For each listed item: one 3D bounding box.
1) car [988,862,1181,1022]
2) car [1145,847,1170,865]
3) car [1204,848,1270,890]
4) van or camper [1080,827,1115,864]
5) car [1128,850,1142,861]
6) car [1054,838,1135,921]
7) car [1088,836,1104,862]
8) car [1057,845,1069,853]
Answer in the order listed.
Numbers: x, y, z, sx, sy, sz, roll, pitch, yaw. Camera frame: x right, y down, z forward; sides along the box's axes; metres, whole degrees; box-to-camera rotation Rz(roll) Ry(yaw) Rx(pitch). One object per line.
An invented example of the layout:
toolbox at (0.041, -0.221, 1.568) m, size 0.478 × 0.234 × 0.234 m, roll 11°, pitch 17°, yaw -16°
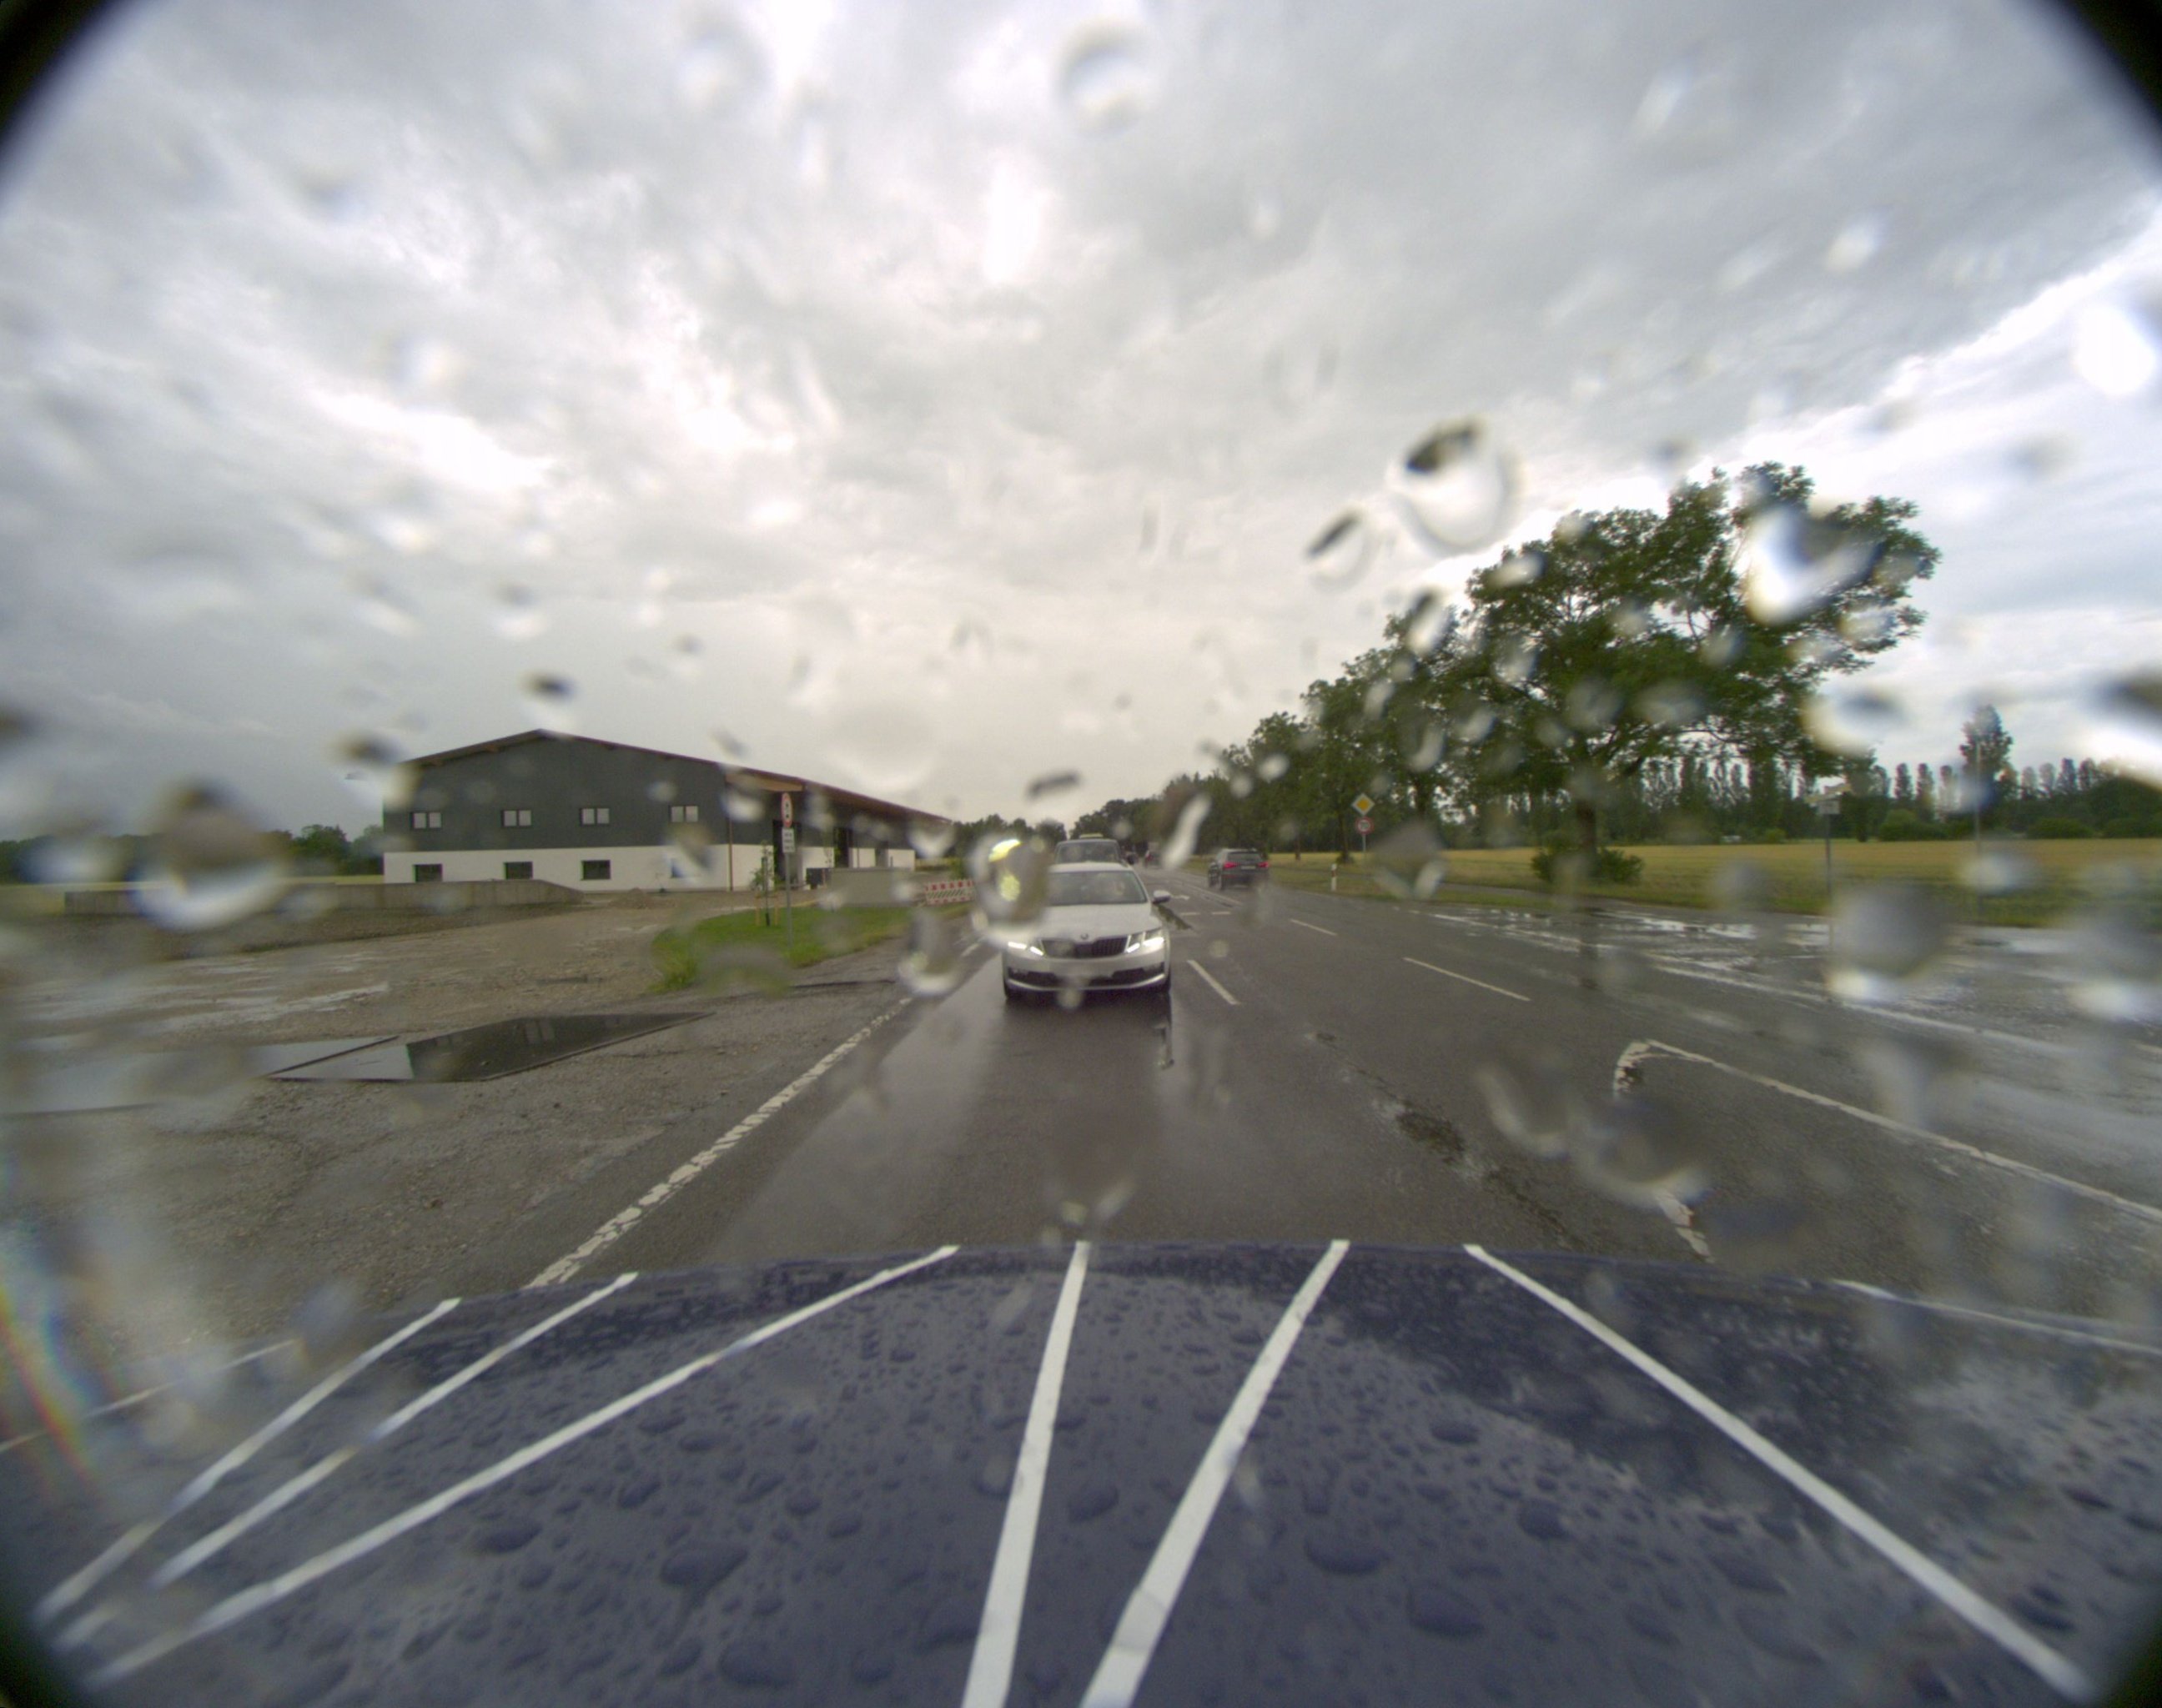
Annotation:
car at (0.077, 0.851, 9.391) m, size 1.770 × 1.365 × 4.575 m, roll -2°, pitch 1°, yaw 1°
car at (7.072, 0.172, 70.434) m, size 1.949 × 1.571 × 4.443 m, roll 0°, pitch 0°, yaw 0°
car at (5.953, 0.532, 29.495) m, size 1.773 × 1.514 × 4.141 m, roll 0°, pitch 0°, yaw 1°
van or camper at (1.751, -0.893, 80.814) m, size 3.342 × 3.624 × 8.372 m, roll -2°, pitch 1°, yaw 1°
car at (7.026, 0.161, 98.747) m, size 1.716 × 1.397 × 3.814 m, roll 0°, pitch 0°, yaw 2°
car at (0.363, 0.576, 19.993) m, size 1.841 × 1.888 × 4.575 m, roll -2°, pitch 1°, yaw 1°
car at (1.844, -0.601, 92.501) m, size 1.771 × 3.134 × 4.027 m, roll -2°, pitch 1°, yaw 0°
car at (-5.033, -1.329, 209.210) m, size 2.002 × 2.002 × 3.992 m, roll -2°, pitch 0°, yaw -24°
